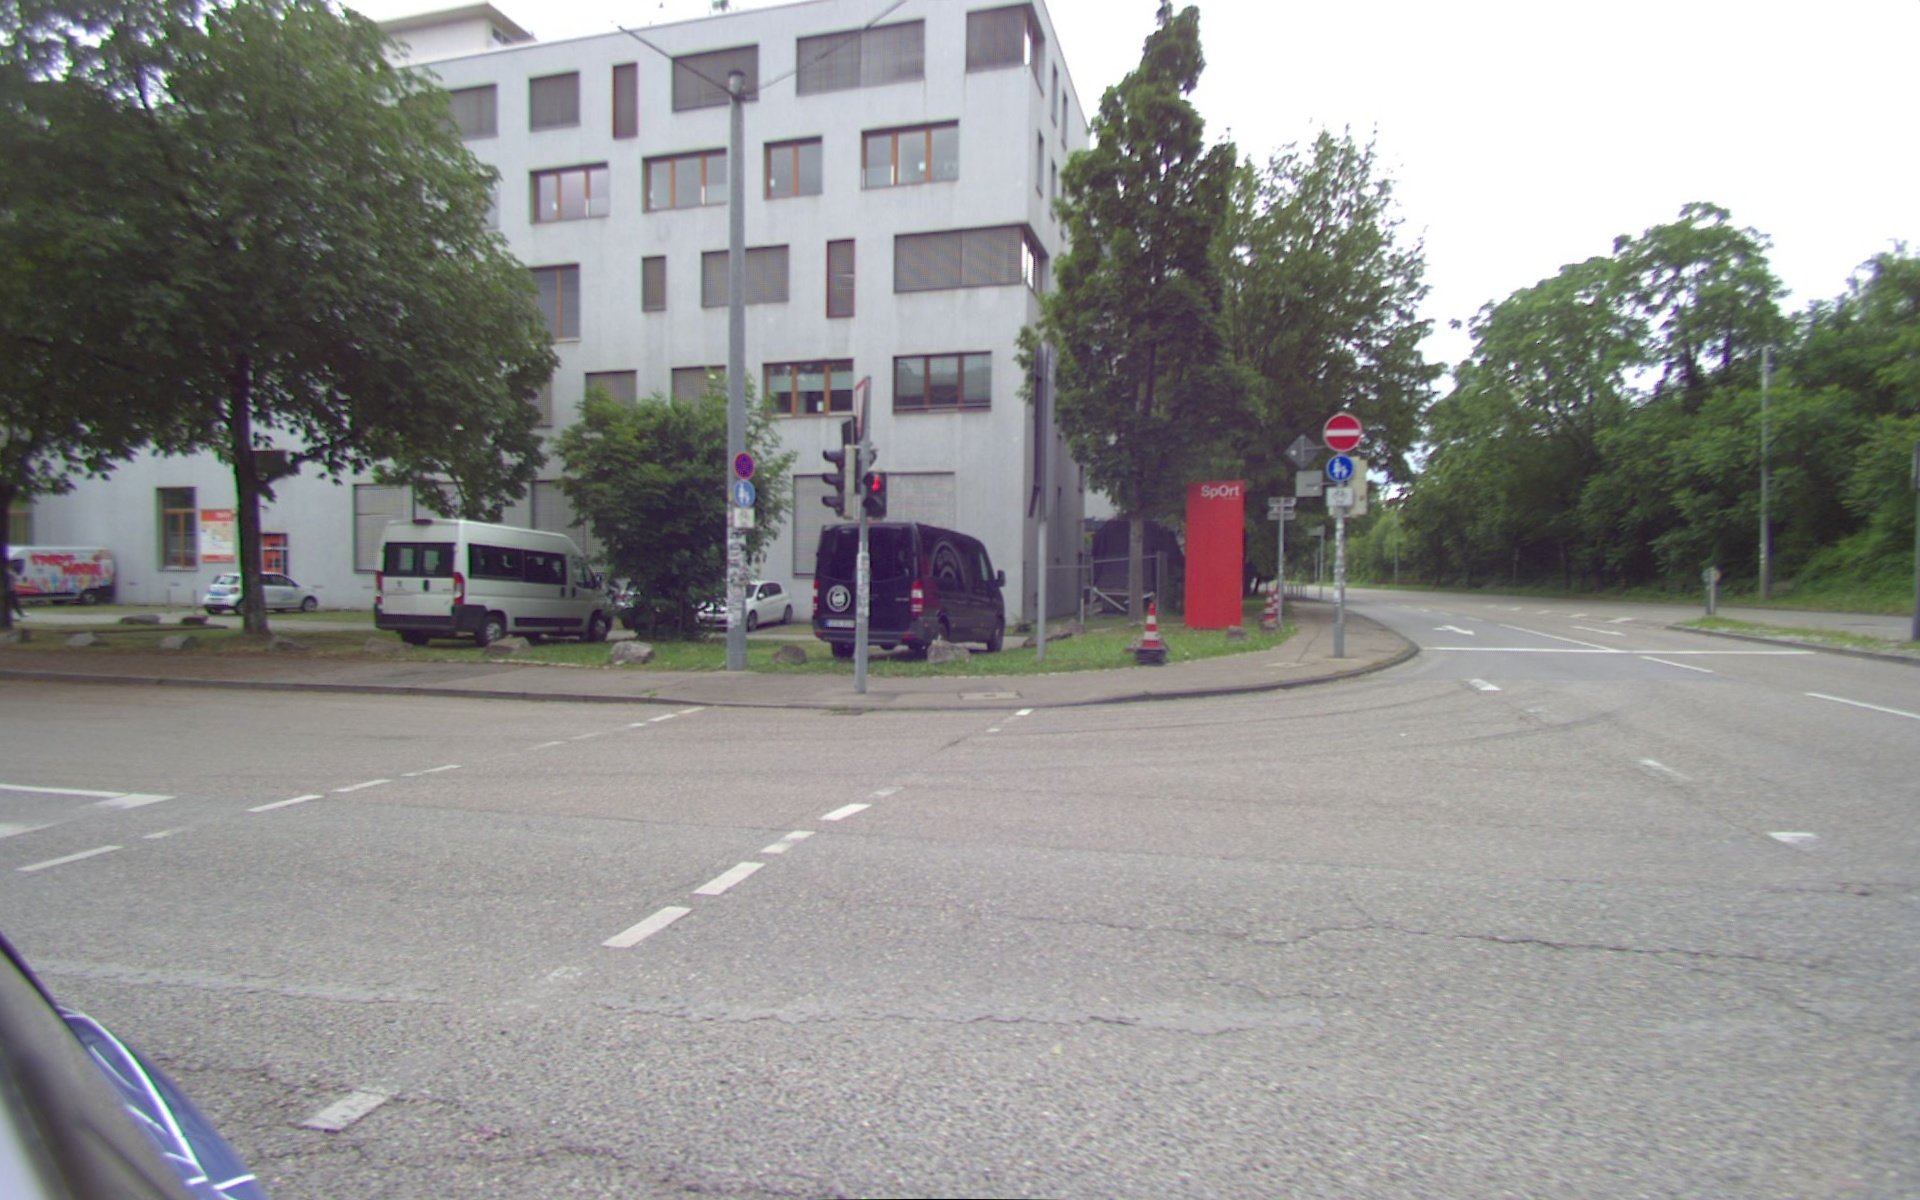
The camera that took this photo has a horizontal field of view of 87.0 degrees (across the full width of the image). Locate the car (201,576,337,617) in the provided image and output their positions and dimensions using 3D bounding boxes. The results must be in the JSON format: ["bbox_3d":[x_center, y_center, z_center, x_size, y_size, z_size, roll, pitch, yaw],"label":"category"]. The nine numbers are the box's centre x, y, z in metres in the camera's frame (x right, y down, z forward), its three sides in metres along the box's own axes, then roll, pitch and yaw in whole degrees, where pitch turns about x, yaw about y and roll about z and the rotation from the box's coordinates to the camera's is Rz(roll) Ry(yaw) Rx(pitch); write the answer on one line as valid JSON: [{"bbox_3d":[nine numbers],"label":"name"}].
[{"bbox_3d":[-25.631,-0.185,37.717,1.700,1.429,3.989,0,1,18],"label":"car"}]

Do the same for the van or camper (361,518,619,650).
[{"bbox_3d":[-9.675,-0.295,21.424,2.138,2.441,5.160,0,0,15],"label":"van or camper"}]

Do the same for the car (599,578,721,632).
[{"bbox_3d":[-9.431,0.106,32.129,1.827,1.540,4.062,0,2,16],"label":"car"}]

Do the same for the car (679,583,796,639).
[{"bbox_3d":[-6.859,0.283,31.618,1.842,1.470,4.056,0,3,16],"label":"car"}]

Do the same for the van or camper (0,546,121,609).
[{"bbox_3d":[-37.795,-0.913,41.226,2.237,2.444,5.242,0,1,16],"label":"van or camper"}]

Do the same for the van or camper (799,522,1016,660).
[{"bbox_3d":[-0.714,-0.077,18.595,2.152,2.126,5.610,0,-1,18],"label":"van or camper"}]
